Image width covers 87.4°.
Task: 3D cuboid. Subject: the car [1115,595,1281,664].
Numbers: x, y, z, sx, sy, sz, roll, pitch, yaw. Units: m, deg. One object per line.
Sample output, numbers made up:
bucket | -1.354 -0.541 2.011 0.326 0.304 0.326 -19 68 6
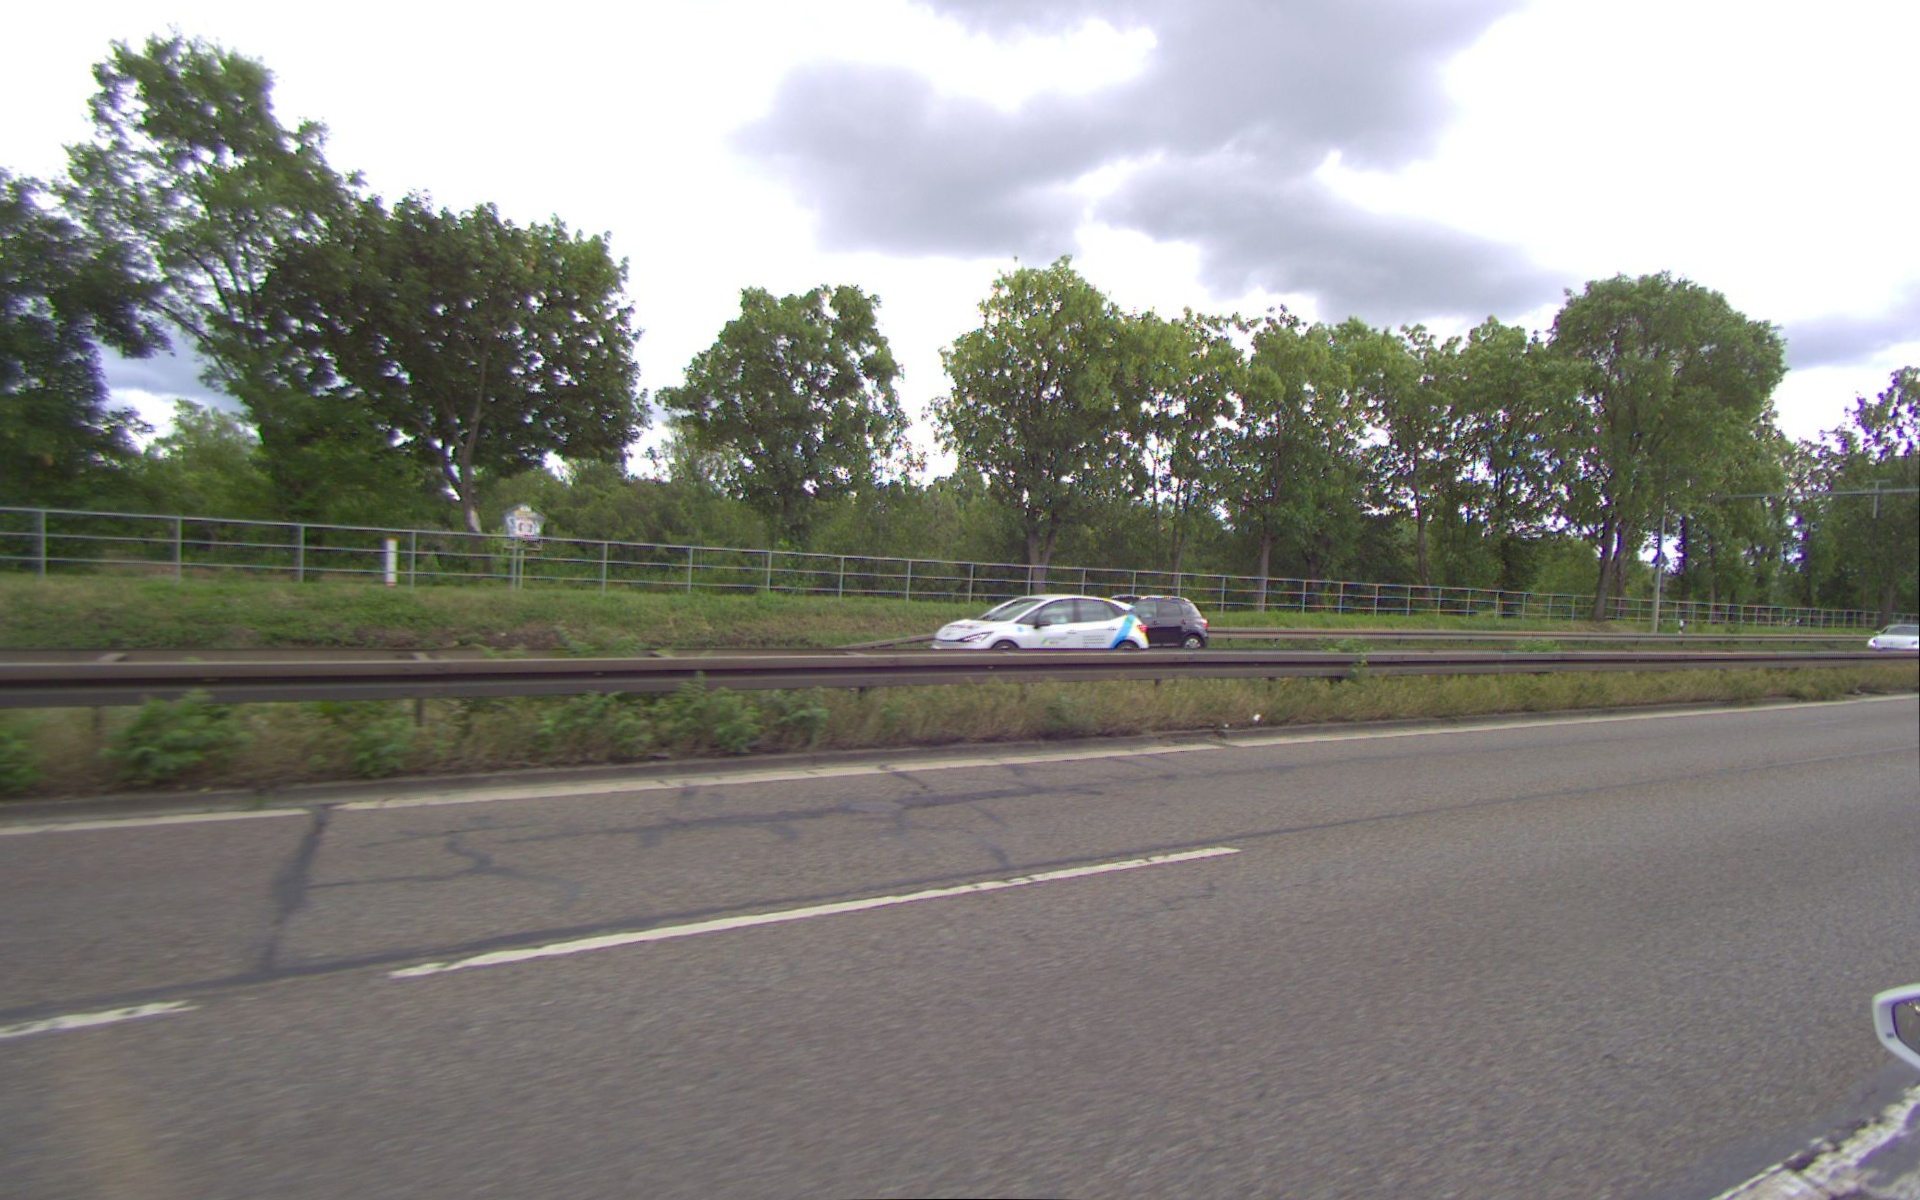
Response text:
car | 6.045 0.729 25.402 3.994 1.626 1.718 1 0 -30

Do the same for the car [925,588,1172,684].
car | 1.713 0.648 18.936 4.485 1.626 1.689 1 0 -30

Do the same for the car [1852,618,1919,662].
car | 39.306 1.631 41.863 4.665 1.697 1.857 1 1 -31
